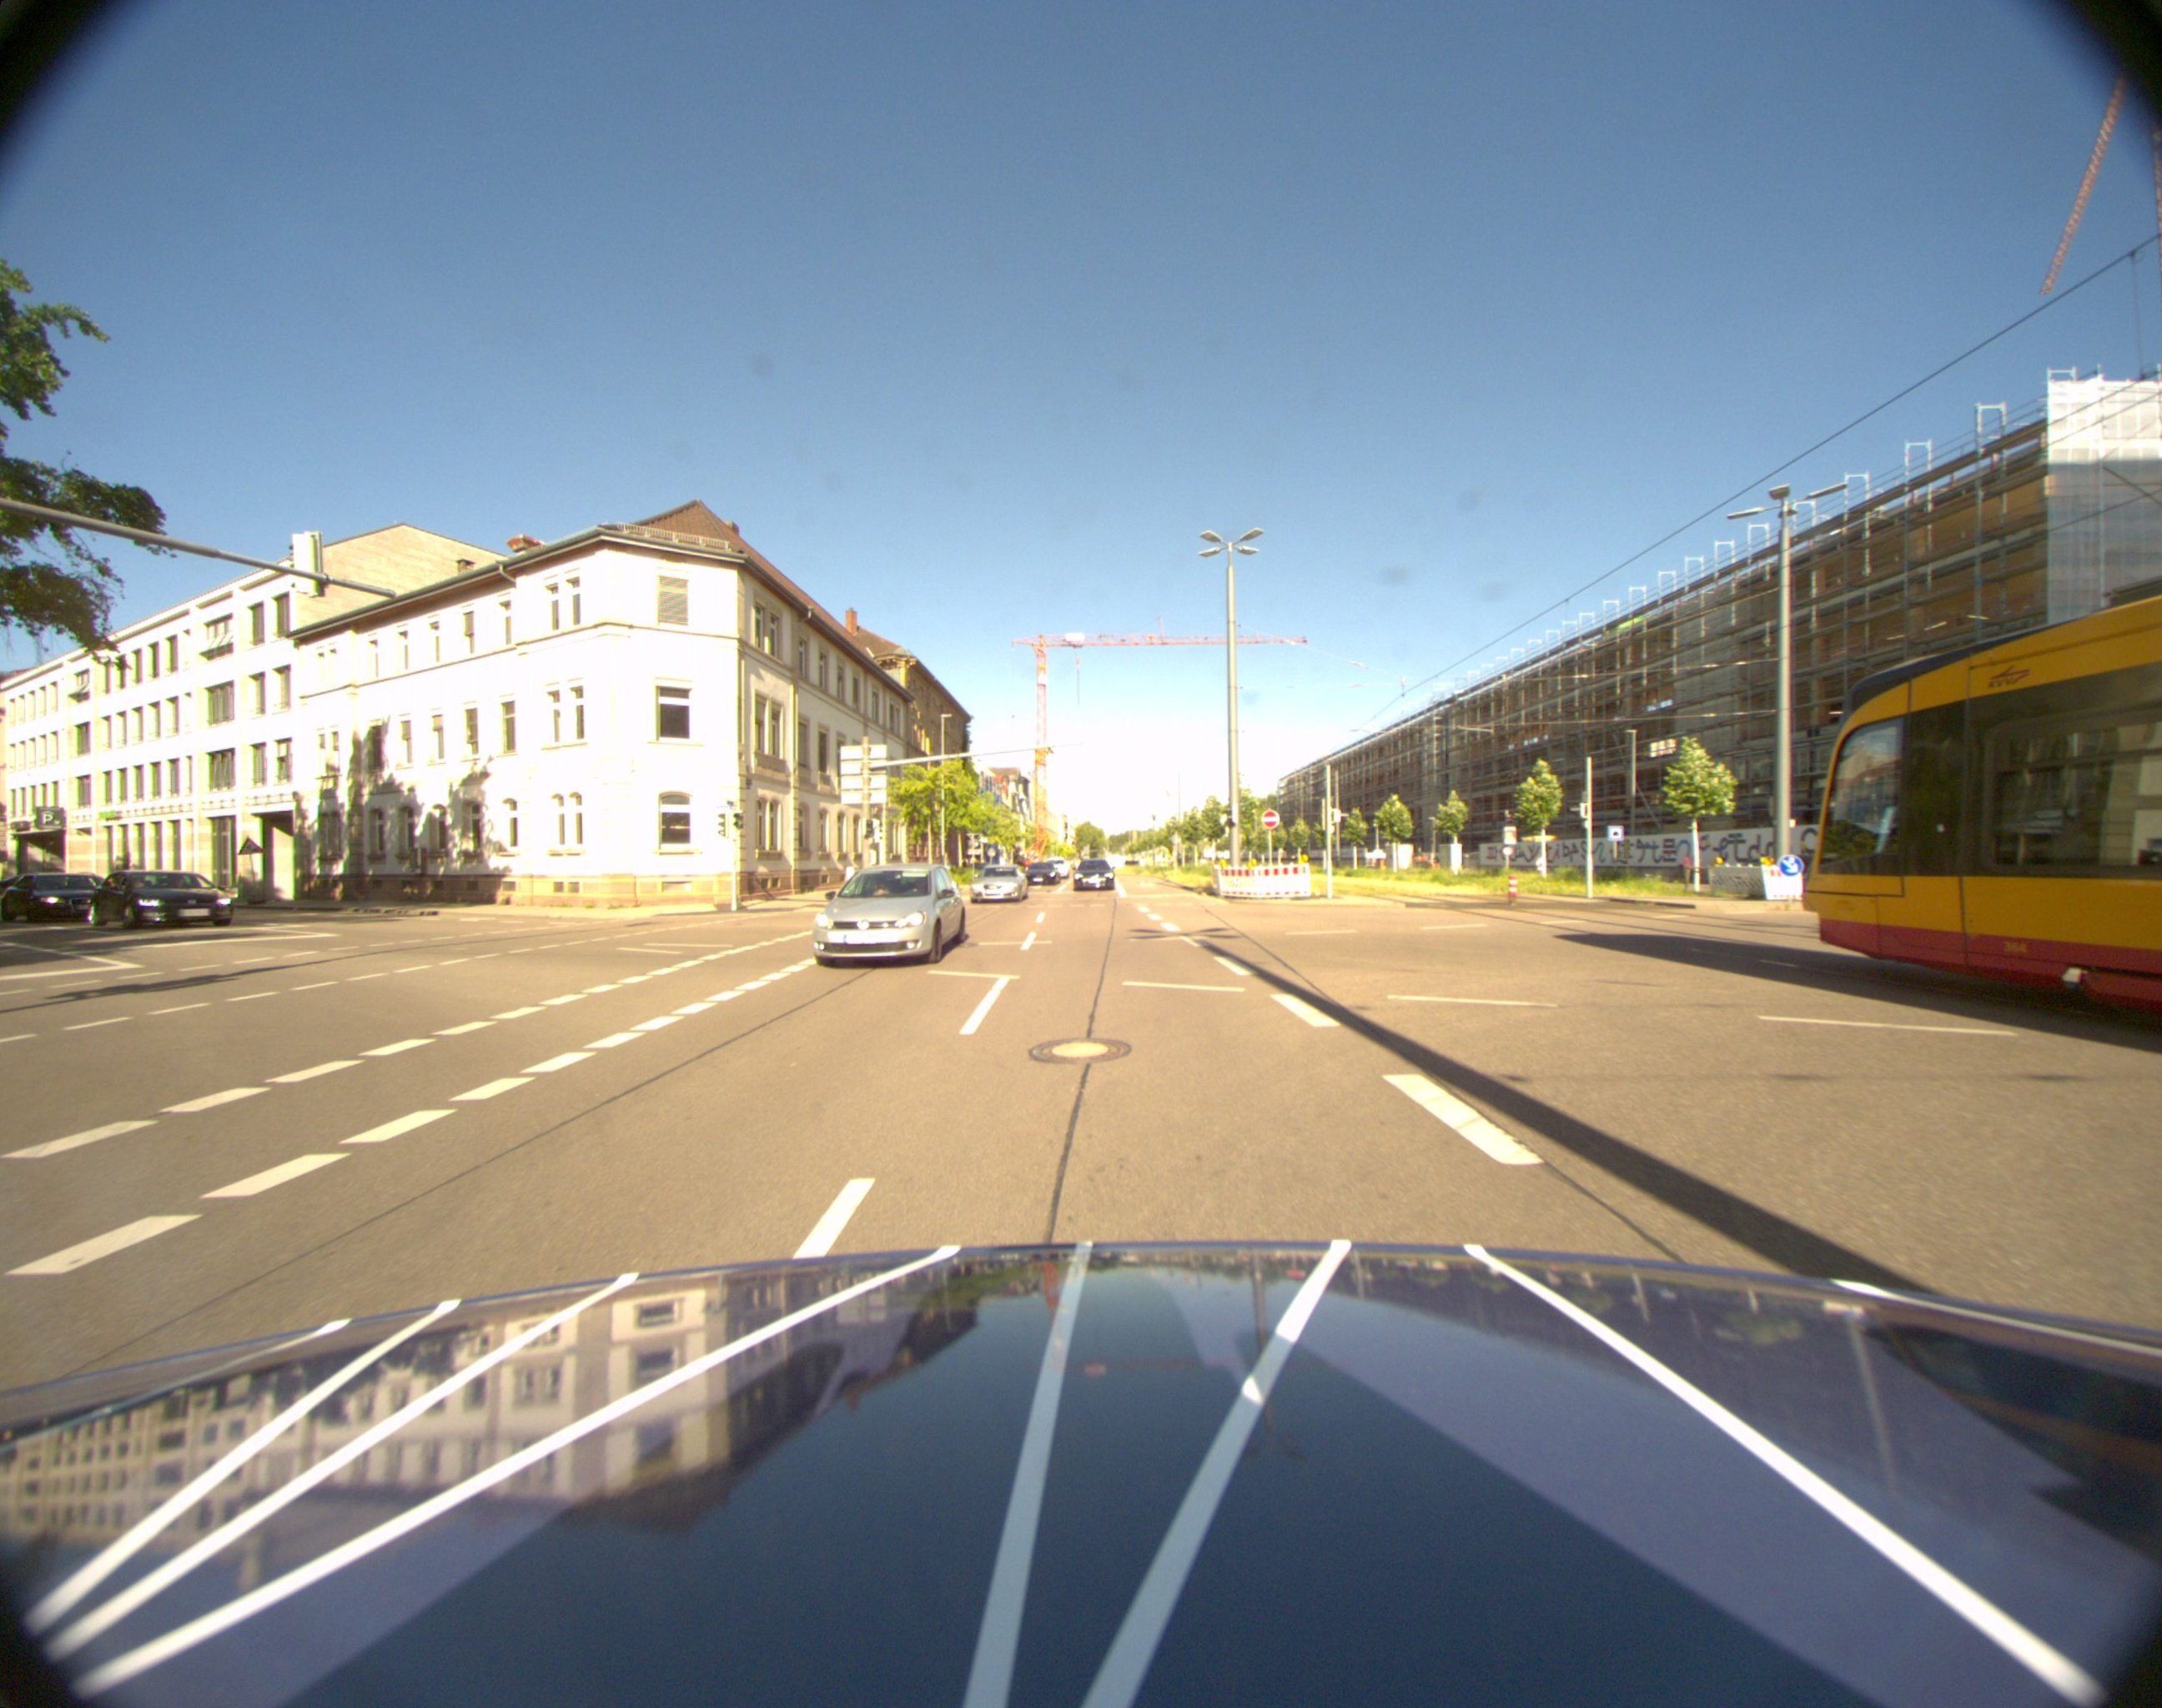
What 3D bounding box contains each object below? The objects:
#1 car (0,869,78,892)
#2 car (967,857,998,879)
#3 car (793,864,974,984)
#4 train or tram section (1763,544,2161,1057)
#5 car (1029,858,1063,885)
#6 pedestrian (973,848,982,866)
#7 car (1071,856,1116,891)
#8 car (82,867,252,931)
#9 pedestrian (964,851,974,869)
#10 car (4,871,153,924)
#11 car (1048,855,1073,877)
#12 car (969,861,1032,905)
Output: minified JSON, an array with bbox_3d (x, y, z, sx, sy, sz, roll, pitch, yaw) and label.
[{"bbox_3d":[-78.574,2.000,56.807,1.995,1.521,4.007,-1,1,27],"label":"car"},{"bbox_3d":[-6.853,0.960,53.121,1.610,1.435,4.000,0,1,1],"label":"car"},{"bbox_3d":[-2.913,0.954,12.109,1.703,1.466,4.000,-2,1,1],"label":"car"},{"bbox_3d":[8.359,-0.361,1.774,1.998,3.648,14.156,-2,1,5],"label":"train or tram section"},{"bbox_3d":[-2.068,1.026,45.505,1.703,1.415,4.000,-2,1,1],"label":"car"},{"bbox_3d":[-9.241,0.275,67.855,0.669,1.552,0.906,-2,1,0],"label":"pedestrian"},{"bbox_3d":[0.518,0.868,35.537,1.999,1.493,3.999,0,1,-1],"label":"car"},{"bbox_3d":[-23.175,1.131,19.267,3.990,1.473,1.736,-1,-3,25],"label":"car"},{"bbox_3d":[-10.007,0.501,67.793,0.669,1.552,0.906,-2,1,0],"label":"pedestrian"},{"bbox_3d":[-29.410,1.225,22.289,3.990,1.430,1.864,-1,-1,26],"label":"car"},{"bbox_3d":[-1.582,0.908,59.000,1.703,1.622,4.000,-2,1,1],"label":"car"},{"bbox_3d":[-2.970,1.041,28.777,1.839,1.415,4.000,-2,1,1],"label":"car"}]
